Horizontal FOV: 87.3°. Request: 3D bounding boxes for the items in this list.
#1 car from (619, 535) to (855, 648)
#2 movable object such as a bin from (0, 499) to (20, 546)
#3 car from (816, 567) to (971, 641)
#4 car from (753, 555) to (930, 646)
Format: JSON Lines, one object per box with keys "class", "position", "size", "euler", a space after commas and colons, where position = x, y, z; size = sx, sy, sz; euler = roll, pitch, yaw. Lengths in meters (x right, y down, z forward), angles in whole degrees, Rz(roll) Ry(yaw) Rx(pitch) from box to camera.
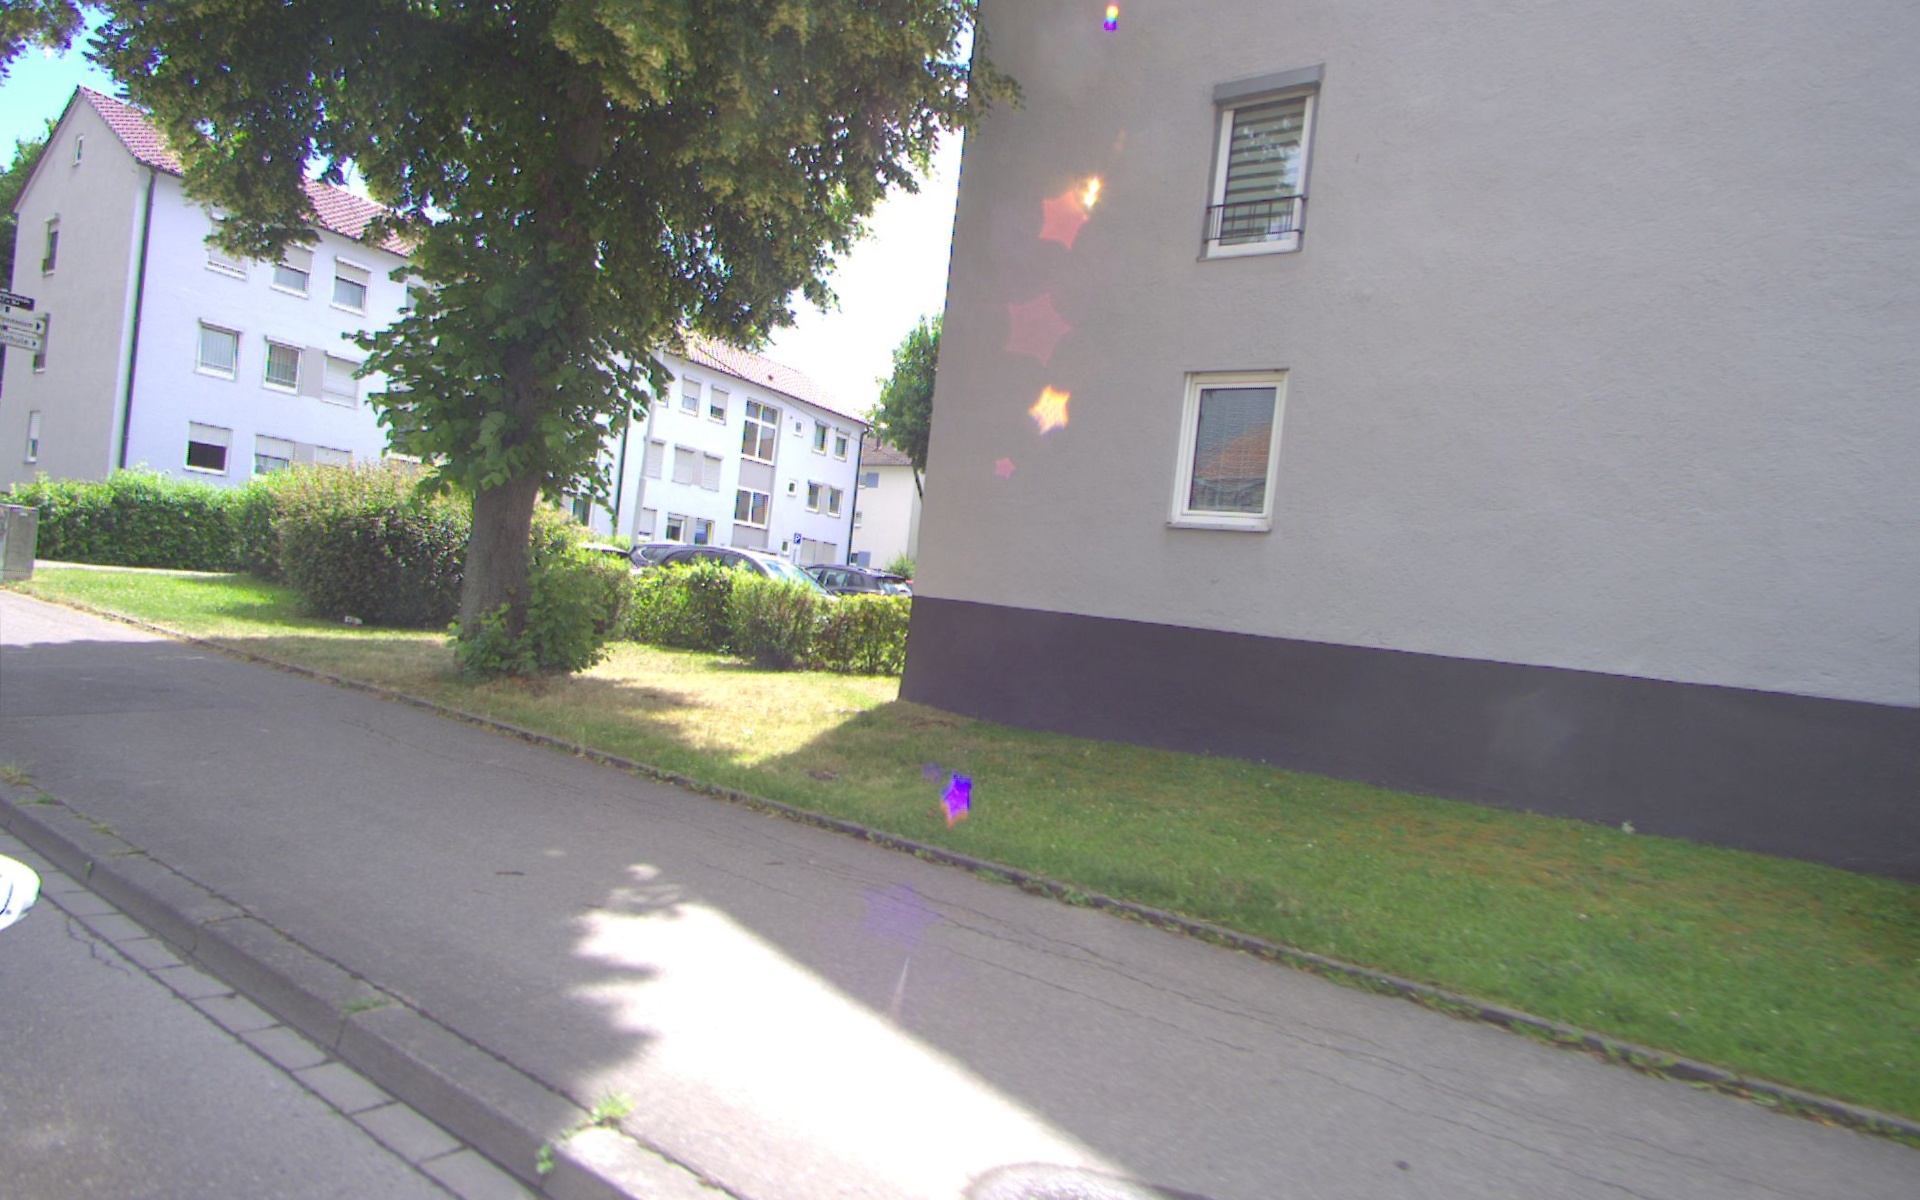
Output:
{"class": "car", "position": [-3.856, -0.159, 17.305], "size": [3.680, 1.432, 1.679], "euler": [7, -2, 31]}
{"class": "movable object such as a bin", "position": [-20.812, -1.695, 21.794], "size": [0.542, 0.959, 0.500], "euler": [7, 2, 32]}
{"class": "car", "position": [-1.766, 0.097, 26.480], "size": [3.681, 1.534, 1.681], "euler": [7, 2, 32]}
{"class": "car", "position": [-2.828, 0.006, 23.803], "size": [3.681, 1.649, 1.830], "euler": [7, 0, 32]}
